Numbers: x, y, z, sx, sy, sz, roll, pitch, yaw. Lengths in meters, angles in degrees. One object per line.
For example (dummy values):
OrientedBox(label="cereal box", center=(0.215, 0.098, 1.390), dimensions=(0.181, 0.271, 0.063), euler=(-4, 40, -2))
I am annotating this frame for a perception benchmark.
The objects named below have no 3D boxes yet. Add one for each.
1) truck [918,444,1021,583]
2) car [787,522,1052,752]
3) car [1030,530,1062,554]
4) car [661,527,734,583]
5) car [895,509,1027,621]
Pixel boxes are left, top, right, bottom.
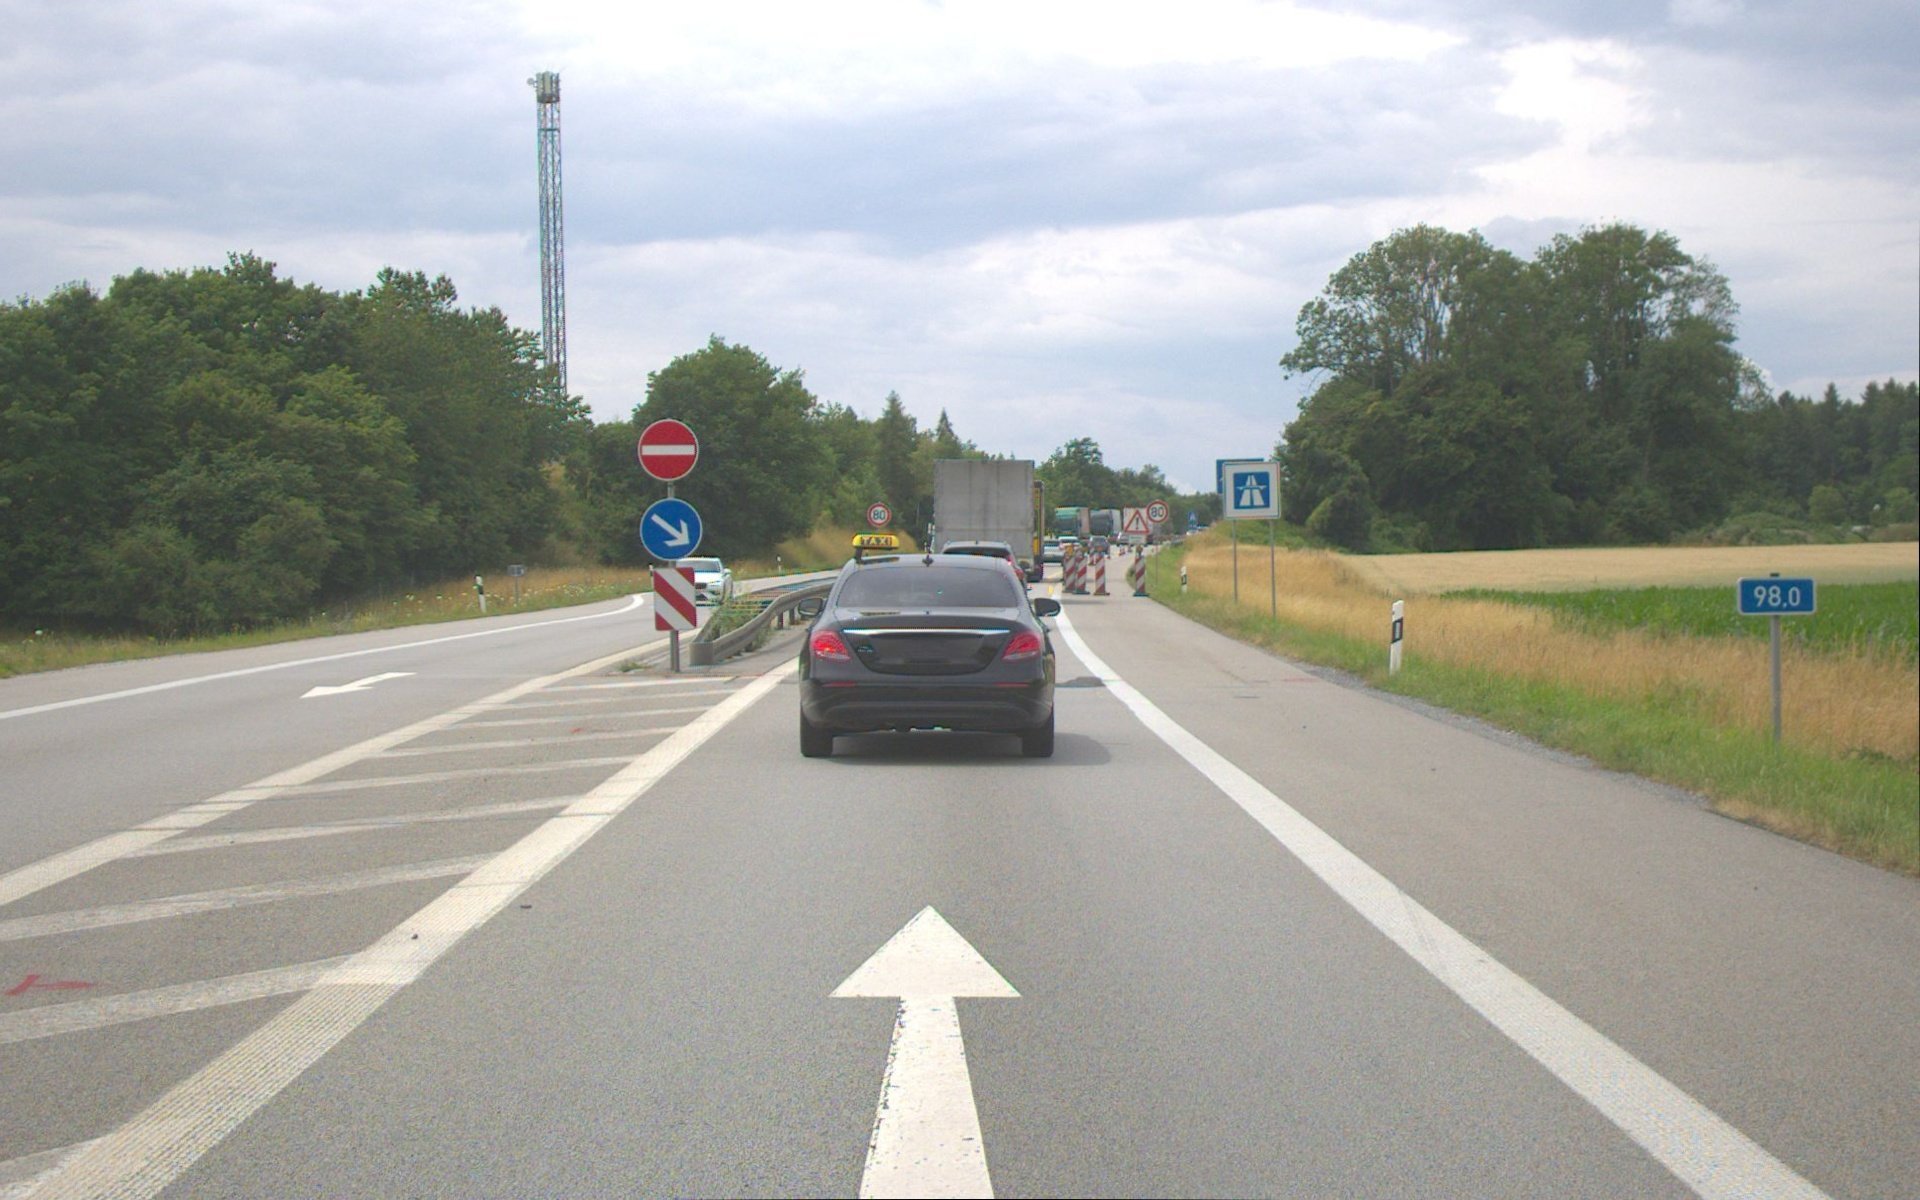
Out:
OrientedBox(label="truck", center=(0.276, -2.236, 90.421), dimensions=(2.587, 3.512, 4.812), euler=(1, 0, 1))
OrientedBox(label="car", center=(-0.260, 0.232, 25.476), dimensions=(1.796, 1.554, 4.000), euler=(1, 1, 0))
OrientedBox(label="car", center=(5.102, -3.458, 204.595), dimensions=(1.649, 1.391, 3.706), euler=(1, 1, -2))
OrientedBox(label="car", center=(-7.840, -1.334, 103.014), dimensions=(1.817, 1.627, 4.602), euler=(1, 1, 0))
OrientedBox(label="car", center=(-0.021, -0.644, 63.899), dimensions=(1.993, 2.007, 4.001), euler=(0, 0, -6))
